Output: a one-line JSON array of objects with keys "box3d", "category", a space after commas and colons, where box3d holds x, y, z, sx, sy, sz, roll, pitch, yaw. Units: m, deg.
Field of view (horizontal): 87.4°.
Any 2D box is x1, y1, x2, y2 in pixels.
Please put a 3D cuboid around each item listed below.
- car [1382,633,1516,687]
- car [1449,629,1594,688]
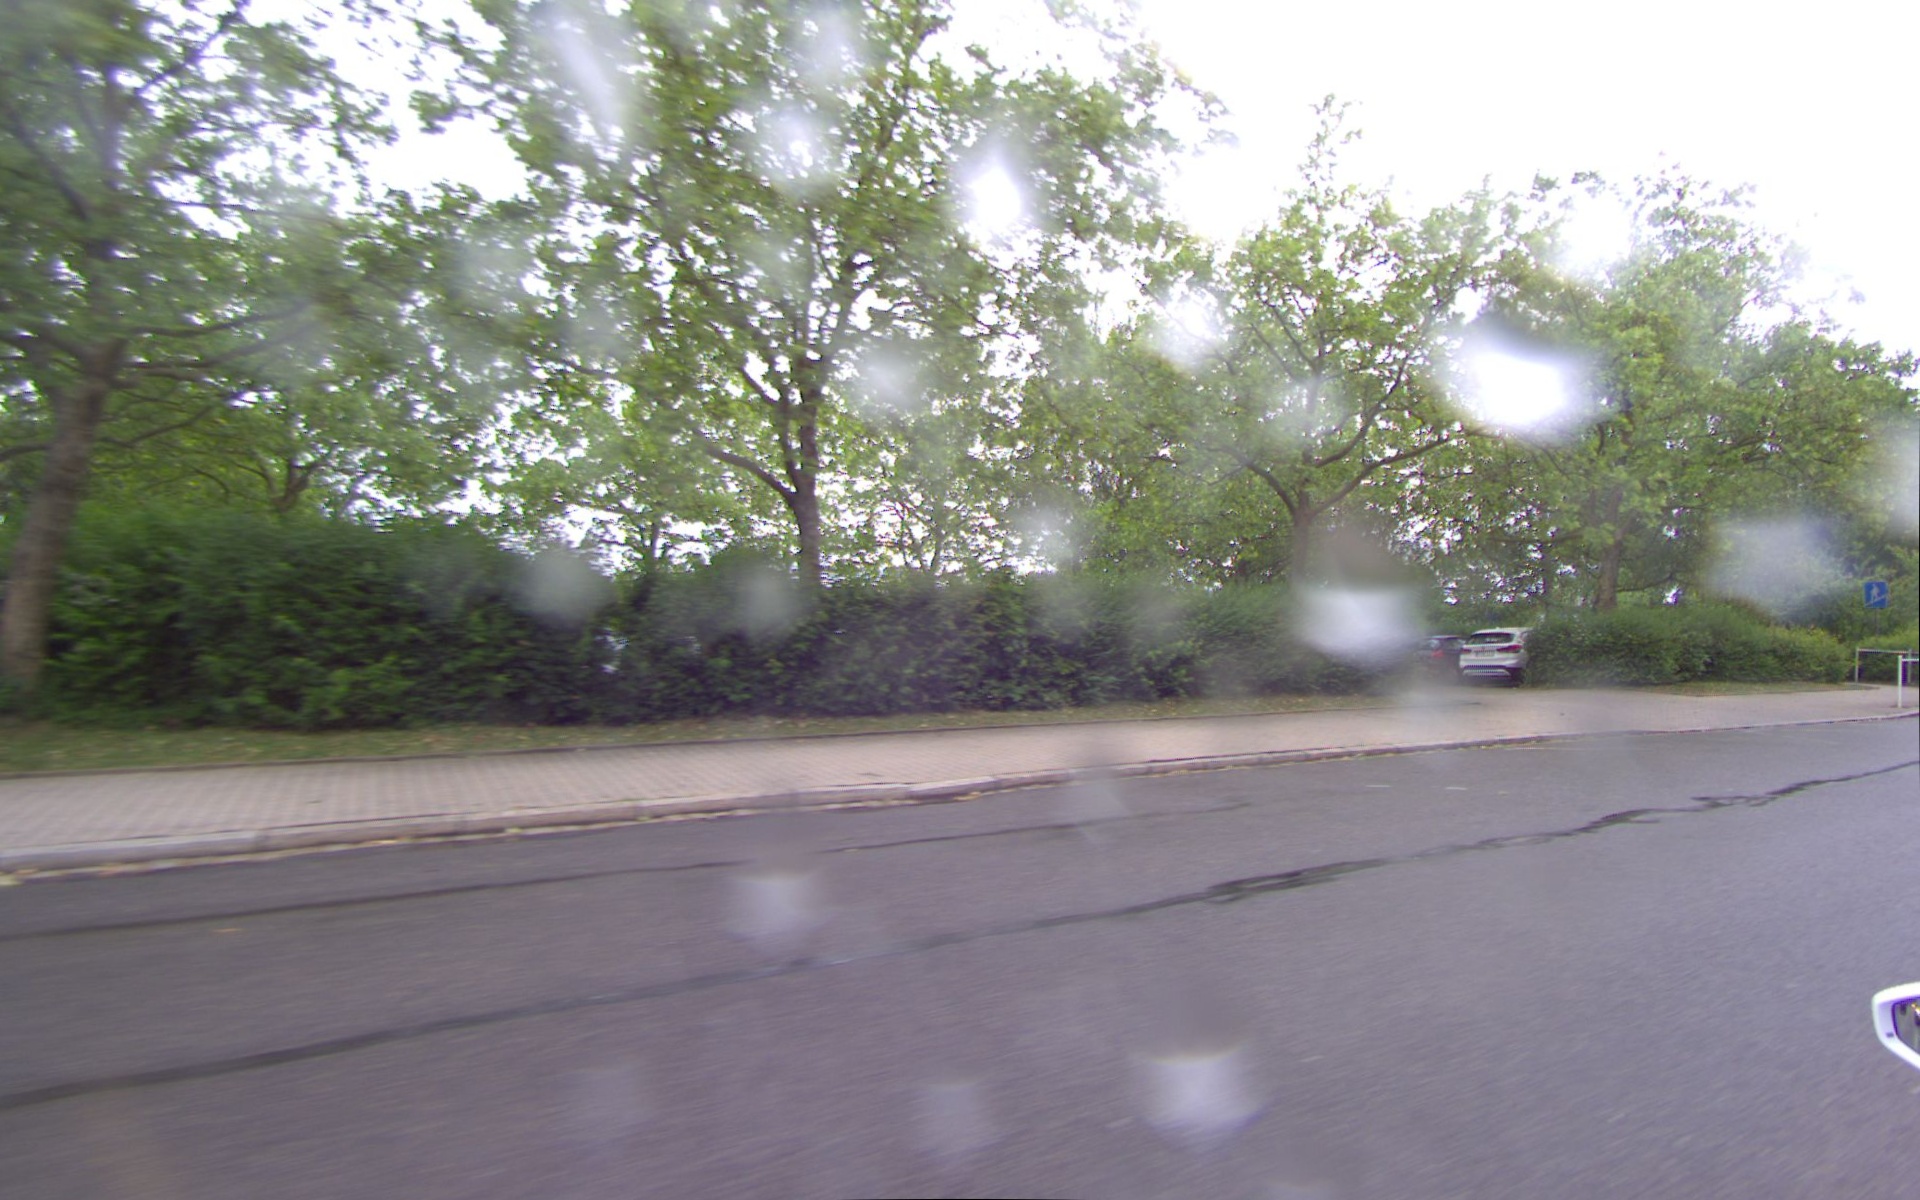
[{"box3d": [14.738, 1.795, 30.235, 3.955, 1.530, 1.785, 1, -4, -32], "category": "car"}, {"box3d": [15.587, 1.624, 27.860, 3.955, 1.530, 1.785, 1, -4, -32], "category": "car"}]
